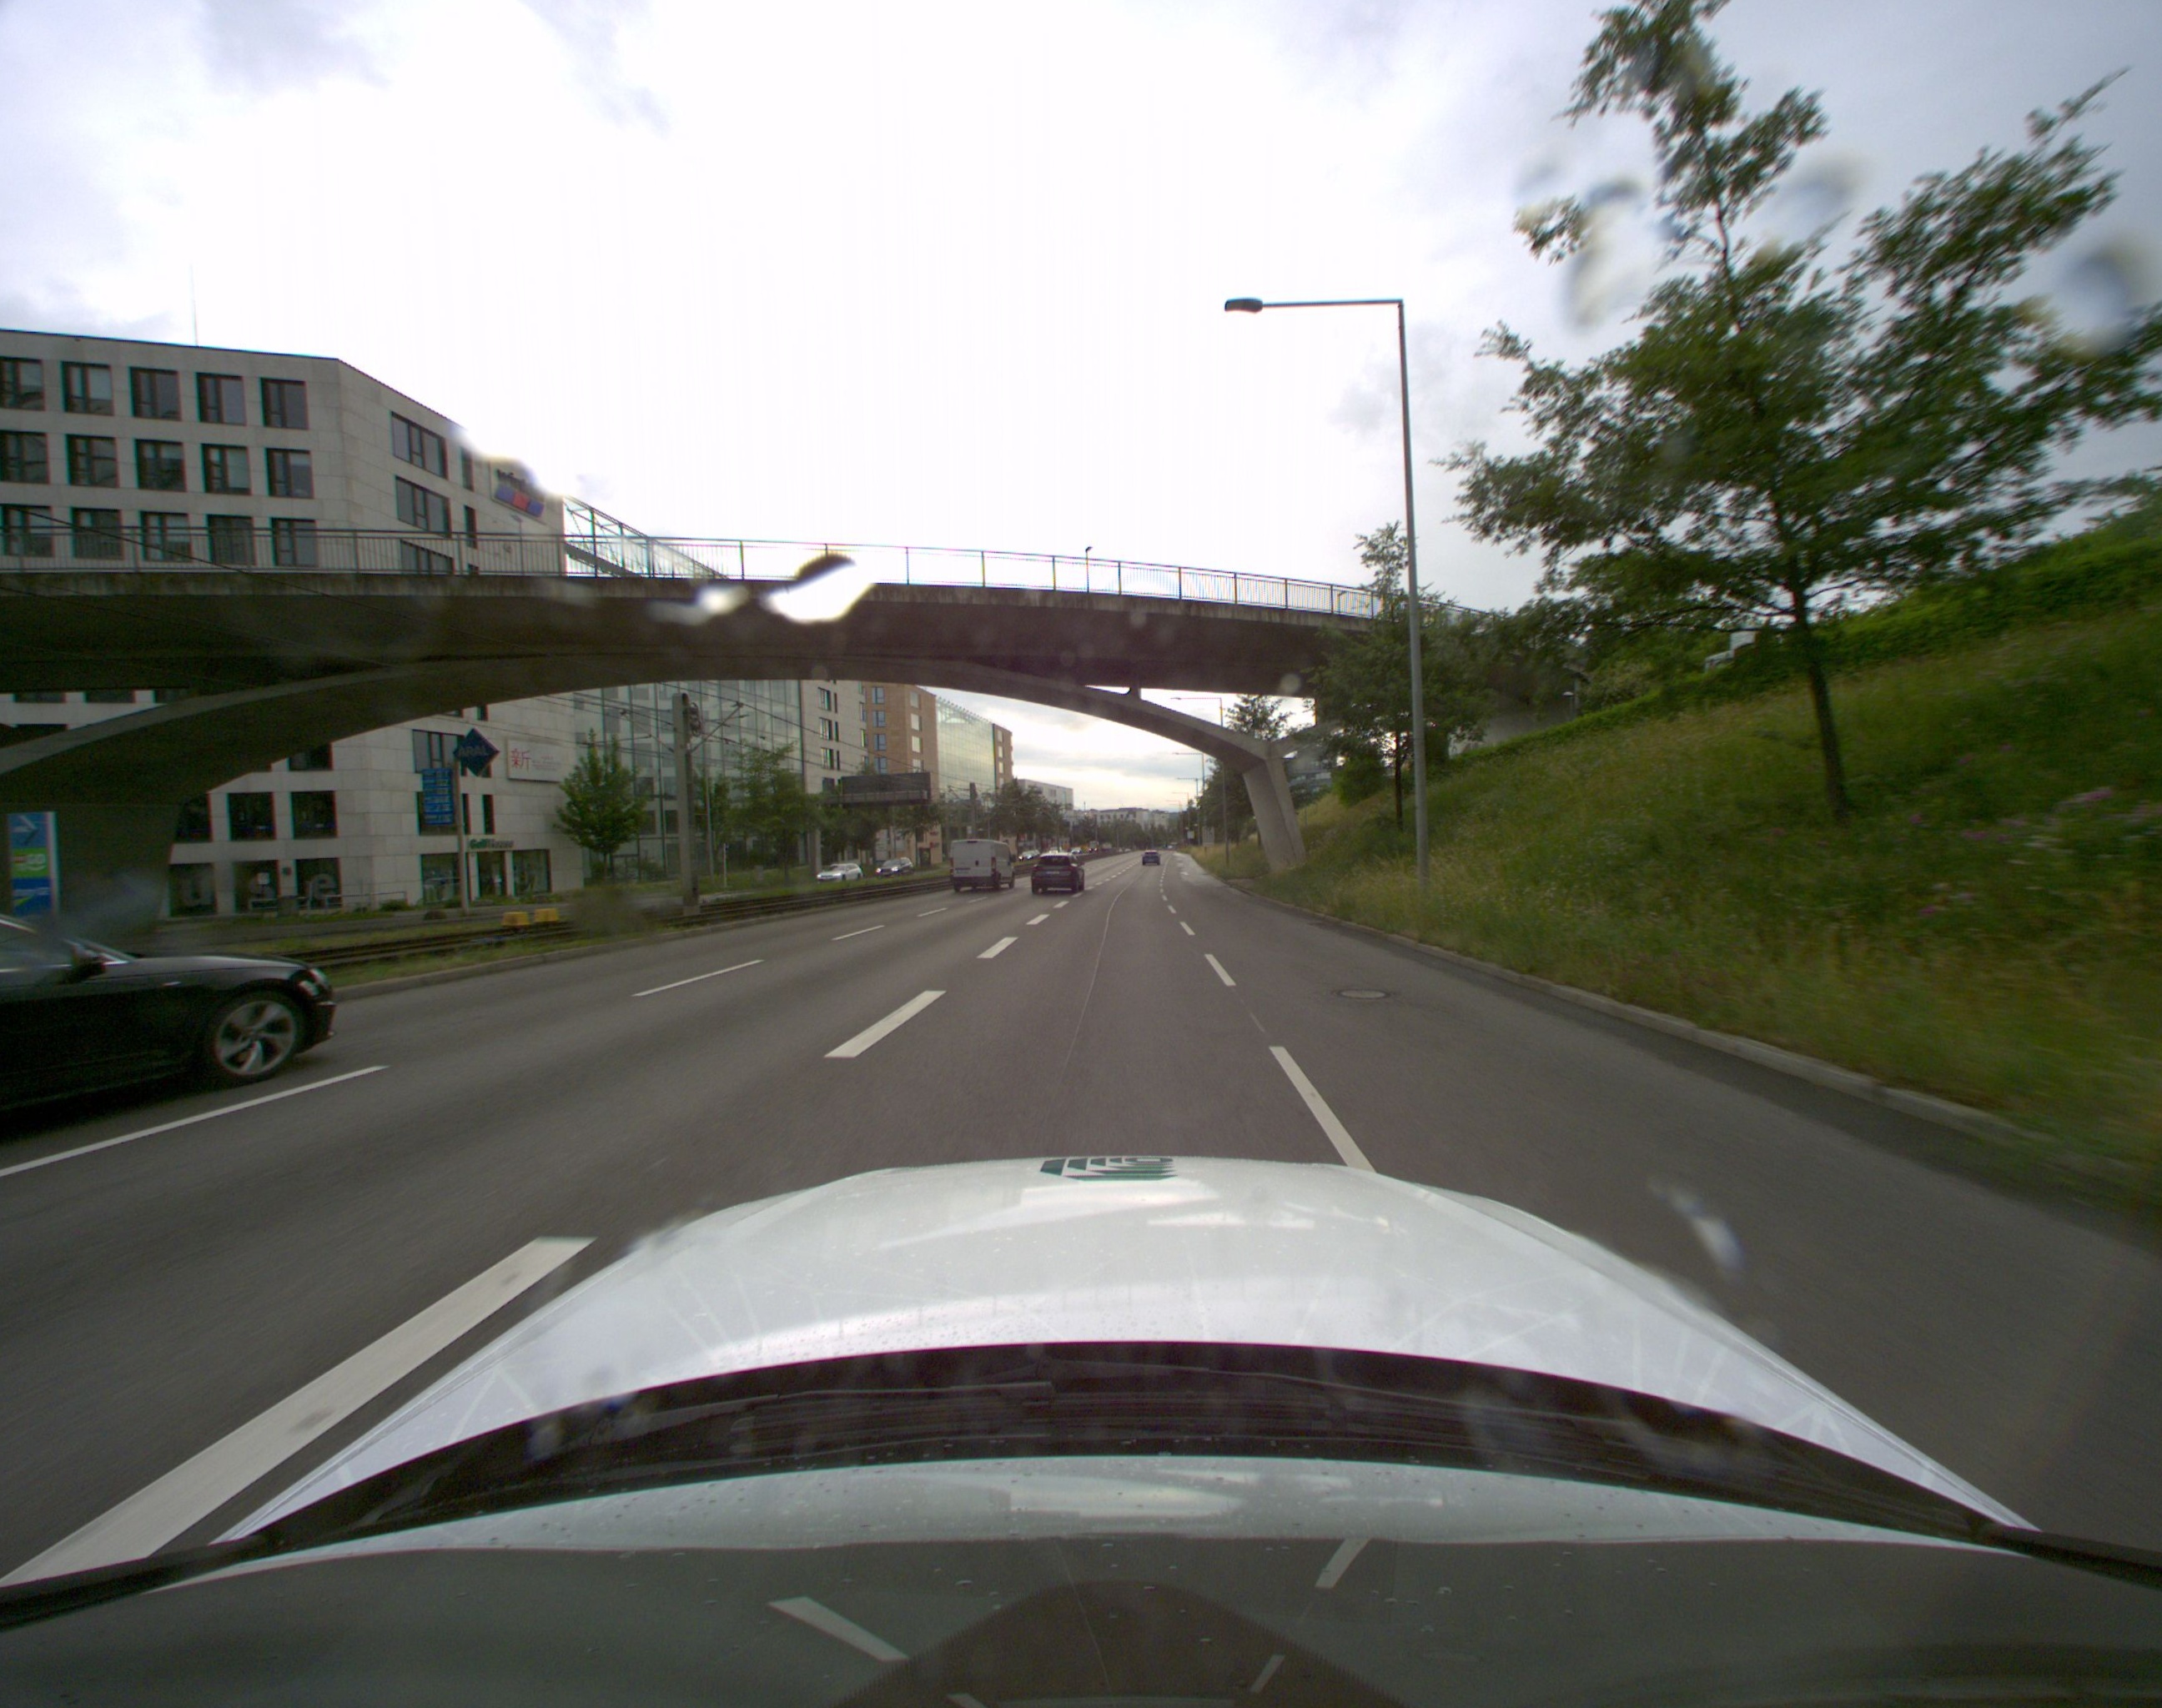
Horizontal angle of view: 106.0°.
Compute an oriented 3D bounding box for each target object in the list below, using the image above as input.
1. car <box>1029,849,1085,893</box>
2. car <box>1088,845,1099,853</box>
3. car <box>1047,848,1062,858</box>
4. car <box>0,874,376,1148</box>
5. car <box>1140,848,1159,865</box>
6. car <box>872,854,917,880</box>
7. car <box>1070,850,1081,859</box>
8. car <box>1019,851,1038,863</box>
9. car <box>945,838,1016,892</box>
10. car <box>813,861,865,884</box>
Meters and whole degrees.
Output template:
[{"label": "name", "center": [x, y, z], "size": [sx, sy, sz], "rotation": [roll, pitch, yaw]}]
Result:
[{"label": "car", "center": [-0.922, 0.696, 33.759], "size": [1.914, 1.711, 4.102], "rotation": [0, -1, 4]}, {"label": "car", "center": [2.817, -1.107, 183.933], "size": [1.927, 1.761, 4.820], "rotation": [0, 1, 7]}, {"label": "car", "center": [-4.843, -0.282, 150.472], "size": [1.927, 1.761, 5.073], "rotation": [0, 1, 7]}, {"label": "car", "center": [-6.651, 0.862, 4.103], "size": [1.778, 1.414, 4.811], "rotation": [-1, 0, 4]}, {"label": "car", "center": [6.927, 0.245, 82.350], "size": [1.781, 1.591, 4.004], "rotation": [-2, 0, 4]}, {"label": "car", "center": [-13.831, 0.961, 60.677], "size": [1.910, 1.776, 4.234], "rotation": [0, 1, 7]}, {"label": "car", "center": [-1.167, 0.083, 179.665], "size": [1.927, 1.761, 4.820], "rotation": [0, 1, 7]}, {"label": "car", "center": [-7.252, 0.418, 112.725], "size": [1.800, 1.533, 4.879], "rotation": [0, 1, 7]}, {"label": "car", "center": [-4.452, 0.442, 36.958], "size": [2.257, 2.284, 4.765], "rotation": [0, 1, 4]}, {"label": "car", "center": [-17.559, 1.335, 59.368], "size": [1.910, 1.497, 4.665], "rotation": [0, 1, 6]}]
